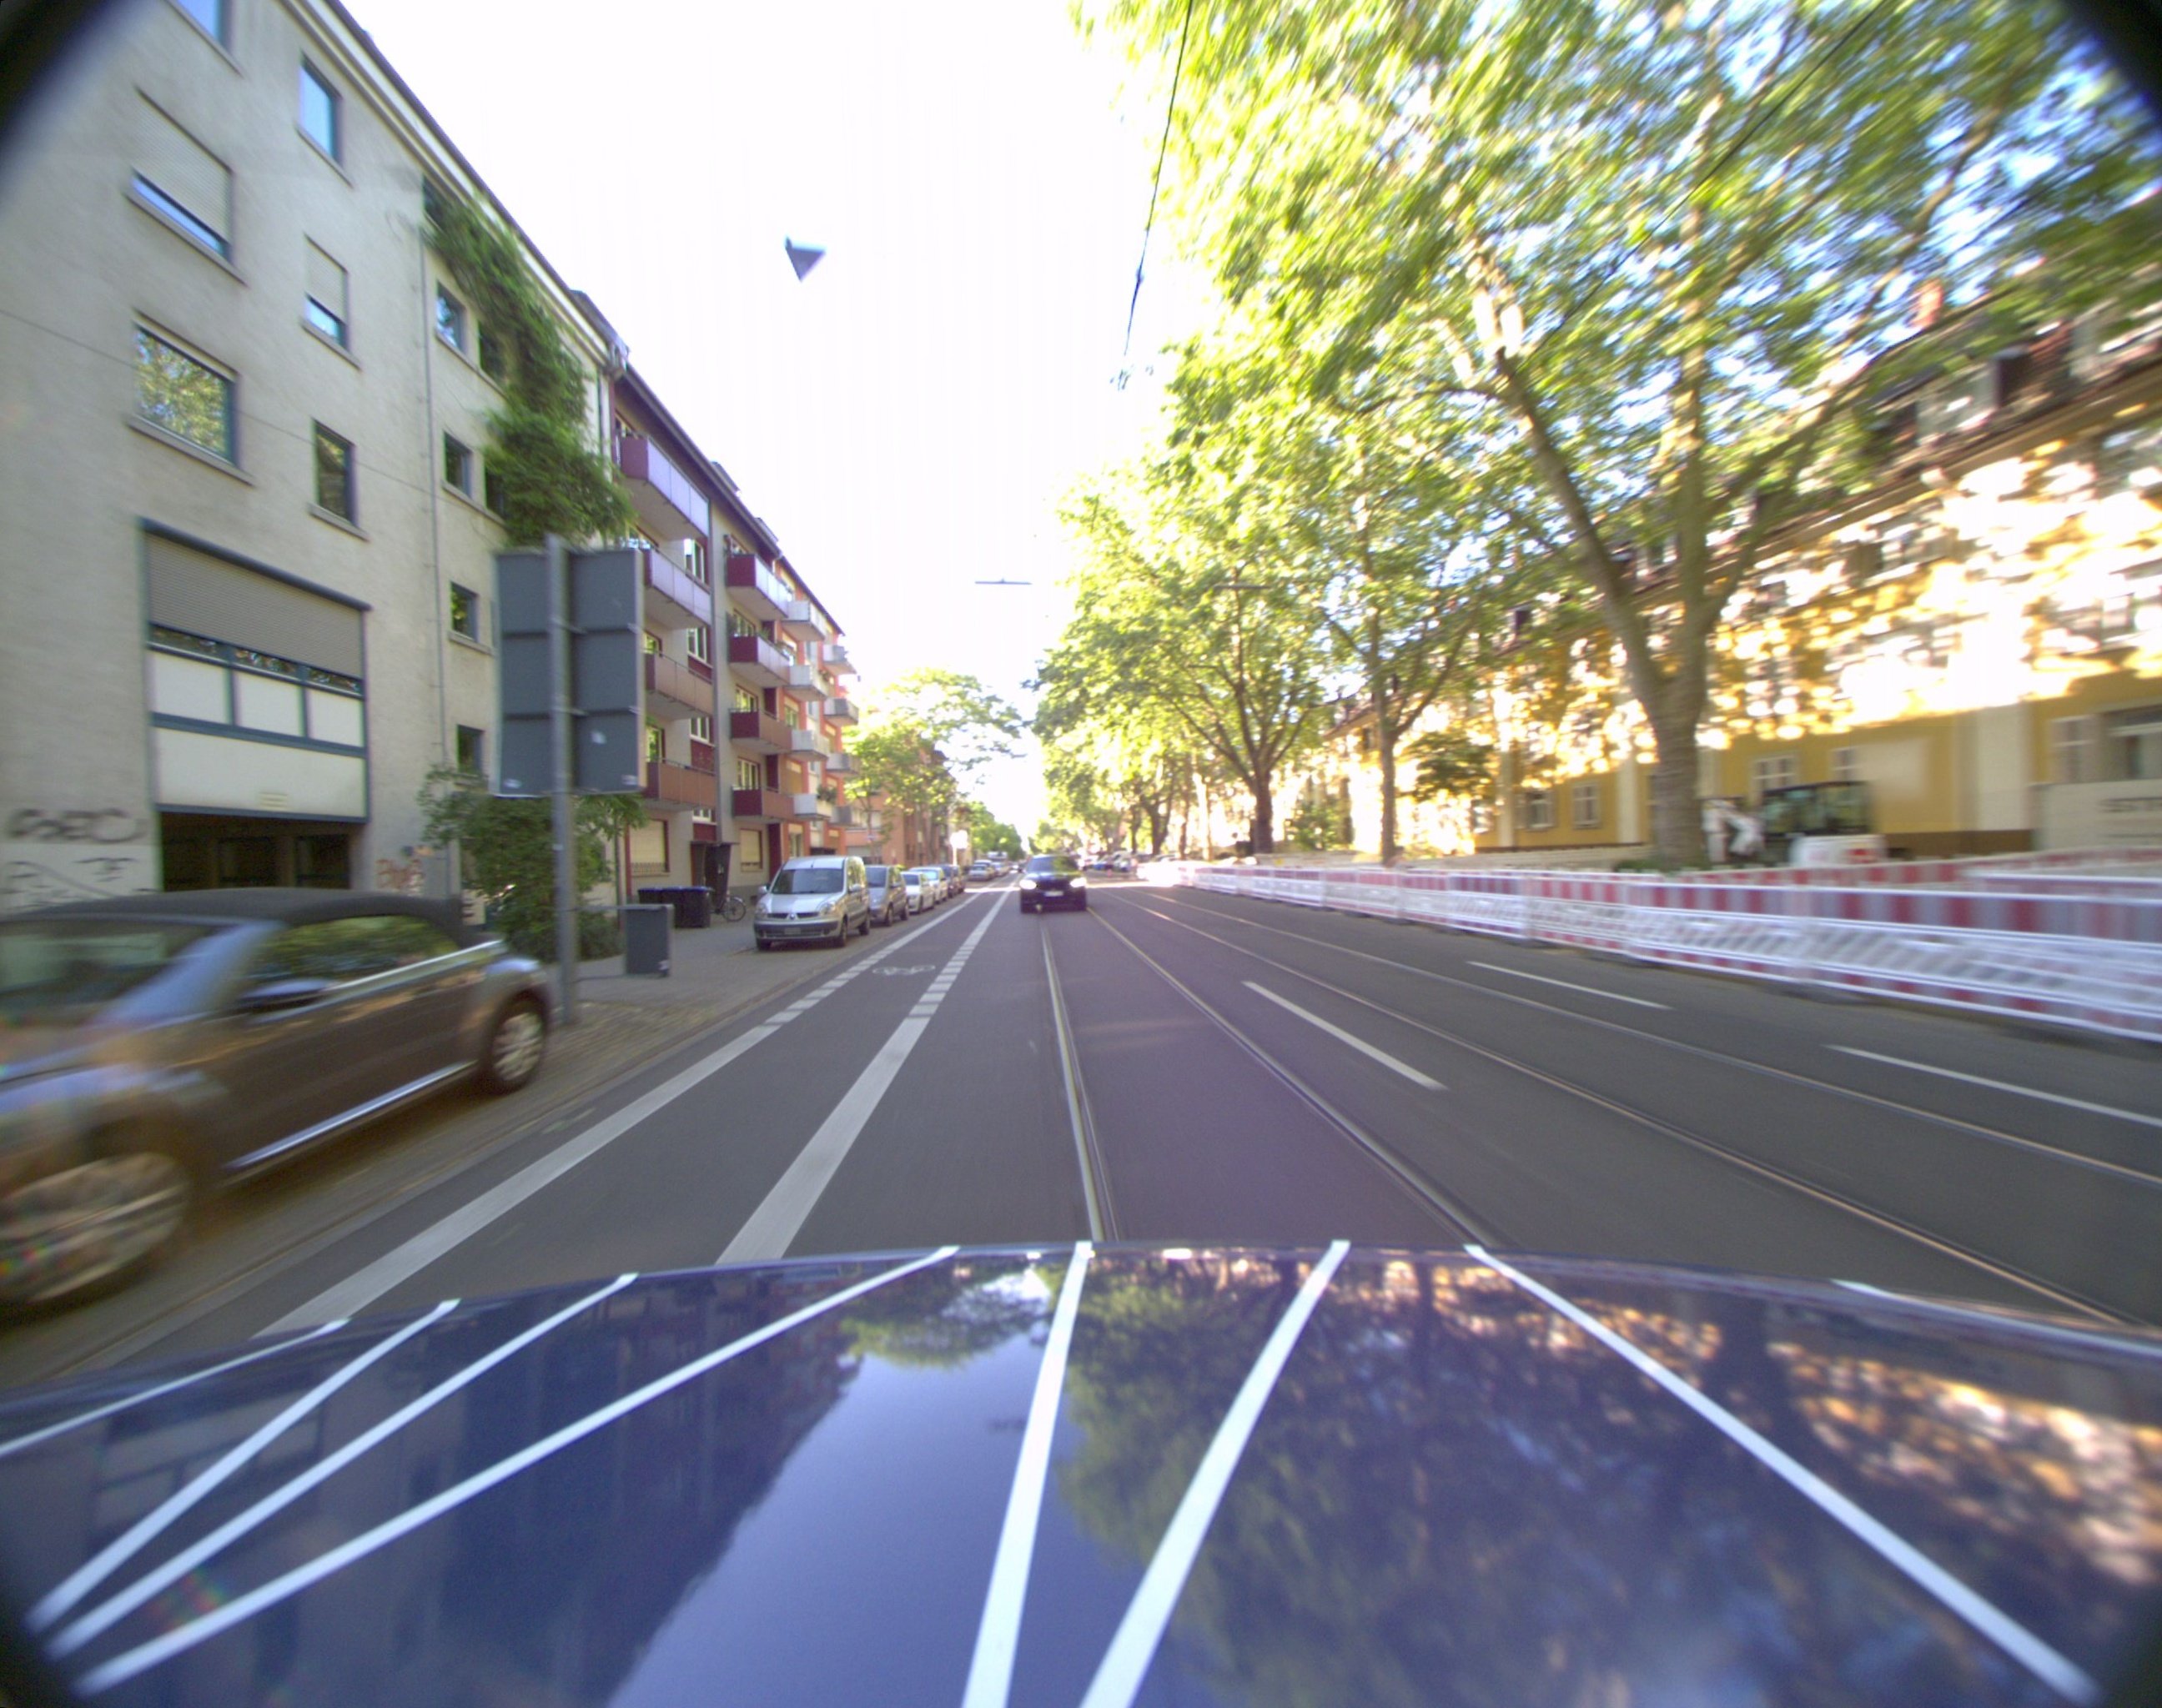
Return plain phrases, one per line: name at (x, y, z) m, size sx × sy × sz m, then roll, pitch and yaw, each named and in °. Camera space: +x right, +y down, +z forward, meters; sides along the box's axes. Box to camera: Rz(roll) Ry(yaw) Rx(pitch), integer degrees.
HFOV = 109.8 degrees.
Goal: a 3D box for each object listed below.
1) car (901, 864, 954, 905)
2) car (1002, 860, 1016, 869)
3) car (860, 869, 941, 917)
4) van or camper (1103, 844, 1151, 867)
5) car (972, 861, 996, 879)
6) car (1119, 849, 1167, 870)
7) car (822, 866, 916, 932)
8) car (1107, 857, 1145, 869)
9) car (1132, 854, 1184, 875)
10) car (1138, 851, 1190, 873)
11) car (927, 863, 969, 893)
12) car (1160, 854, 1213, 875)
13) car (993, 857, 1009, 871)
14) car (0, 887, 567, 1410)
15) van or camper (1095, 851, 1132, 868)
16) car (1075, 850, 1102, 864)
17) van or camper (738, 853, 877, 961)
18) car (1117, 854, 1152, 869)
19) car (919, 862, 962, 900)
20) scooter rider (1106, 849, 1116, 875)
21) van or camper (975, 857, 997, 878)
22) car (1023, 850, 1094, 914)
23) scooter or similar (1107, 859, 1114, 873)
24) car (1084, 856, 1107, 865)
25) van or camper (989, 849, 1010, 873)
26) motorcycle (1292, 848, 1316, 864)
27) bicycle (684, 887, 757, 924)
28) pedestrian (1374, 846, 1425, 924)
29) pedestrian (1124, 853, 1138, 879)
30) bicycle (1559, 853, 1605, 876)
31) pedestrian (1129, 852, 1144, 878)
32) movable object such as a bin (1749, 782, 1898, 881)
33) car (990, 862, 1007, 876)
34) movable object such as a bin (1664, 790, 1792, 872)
car at (-6.272, 1.203, 31.385) m, size 1.596 × 1.518 × 3.834 m, roll 0°, pitch 0°, yaw -3°
car at (-11.346, 1.707, 119.381) m, size 1.999 × 1.372 × 4.738 m, roll 0°, pitch 0°, yaw -4°
car at (-5.842, 1.208, 25.133) m, size 1.664 × 1.391 × 4.739 m, roll 0°, pitch 0°, yaw -2°
van or camper at (5.582, 0.176, 92.853) m, size 5.404 × 2.501 × 2.444 m, roll -2°, pitch 0°, yaw -4°
car at (-8.182, 1.326, 64.409) m, size 1.710 × 1.464 × 3.999 m, roll -1°, pitch 0°, yaw -4°
car at (6.503, 0.585, 79.582) m, size 4.671 × 1.934 × 1.961 m, roll -2°, pitch 0°, yaw -7°
car at (-5.617, 1.141, 20.559) m, size 1.664 × 1.571 × 3.588 m, roll -1°, pitch 0°, yaw -3°
car at (5.351, 1.073, 90.266) m, size 4.276 × 1.390 × 1.753 m, roll -1°, pitch 0°, yaw -3°
car at (6.447, 0.887, 64.101) m, size 4.244 × 1.678 × 1.934 m, roll -1°, pitch 0°, yaw 4°
car at (7.242, 0.702, 66.487) m, size 4.211 × 1.747 × 1.739 m, roll -2°, pitch 0°, yaw -6°
car at (-6.903, 1.214, 39.778) m, size 1.738 × 1.453 × 3.915 m, roll 0°, pitch 0°, yaw -4°
car at (8.306, 0.822, 60.111) m, size 3.858 × 1.489 × 1.862 m, roll -1°, pitch 0°, yaw -3°
car at (-9.568, 1.172, 91.074) m, size 1.798 × 1.618 × 4.275 m, roll 0°, pitch 0°, yaw -4°
car at (-4.597, 1.039, 3.770) m, size 1.736 × 1.548 × 4.148 m, roll 1°, pitch 0°, yaw -8°
van or camper at (4.515, 0.792, 105.565) m, size 4.833 × 2.177 × 2.118 m, roll -2°, pitch 0°, yaw -4°
car at (1.510, 0.601, 151.139) m, size 5.020 × 2.383 × 2.028 m, roll -2°, pitch -1°, yaw -5°
van or camper at (-5.366, 0.937, 15.462) m, size 1.674 × 1.872 × 4.208 m, roll -1°, pitch 0°, yaw -6°
car at (6.174, 0.899, 88.224) m, size 3.858 × 1.653 × 1.862 m, roll -1°, pitch 0°, yaw -3°
car at (-6.546, 1.218, 35.610) m, size 1.530 × 1.581 × 3.750 m, roll -3°, pitch 0°, yaw -5°
scooter rider at (2.356, 0.614, 59.492) m, size 0.651 × 1.946 × 0.624 m, roll -3°, pitch 1°, yaw -3°
van or camper at (-8.750, 1.211, 70.072) m, size 1.760 × 1.853 × 4.828 m, roll -1°, pitch 0°, yaw -5°
car at (-0.789, 0.816, 24.012) m, size 1.924 × 1.741 × 4.805 m, roll -2°, pitch 0°, yaw -4°
scooter or similar at (2.297, 0.935, 59.476) m, size 0.409 × 1.076 × 1.338 m, roll -3°, pitch 1°, yaw -3°
car at (2.758, 1.259, 143.826) m, size 4.172 × 1.506 × 1.925 m, roll -2°, pitch -1°, yaw -5°
van or camper at (-10.367, 0.890, 97.076) m, size 2.469 × 3.046 × 6.265 m, roll 0°, pitch 0°, yaw -5°
motorcycle at (17.552, 0.148, 59.708) m, size 1.714 × 1.234 × 0.523 m, roll -2°, pitch 0°, yaw -2°
bicycle at (-10.326, 1.463, 21.783) m, size 1.898 × 1.023 × 0.476 m, roll 0°, pitch 0°, yaw 2°
pedestrian at (7.034, 0.674, 16.810) m, size 0.718 × 1.659 × 0.778 m, roll -3°, pitch 1°, yaw -3°
pedestrian at (3.580, 0.846, 53.967) m, size 0.824 × 1.735 × 0.796 m, roll -3°, pitch 1°, yaw -3°
bicycle at (19.029, 0.401, 28.910) m, size 0.508 × 0.814 × 1.643 m, roll -2°, pitch 0°, yaw -7°
pedestrian at (3.877, 0.747, 53.121) m, size 0.824 × 1.735 × 0.796 m, roll -3°, pitch 1°, yaw -3°
movable object such as a bin at (13.333, -0.382, 13.724) m, size 1.101 × 1.636 × 1.559 m, roll -3°, pitch 1°, yaw -3°
car at (-9.344, 1.650, 85.905) m, size 1.793 × 1.513 × 4.320 m, roll 0°, pitch 0°, yaw -5°
movable object such as a bin at (15.879, -0.536, 18.731) m, size 1.337 × 1.858 × 2.007 m, roll -3°, pitch 1°, yaw -3°
